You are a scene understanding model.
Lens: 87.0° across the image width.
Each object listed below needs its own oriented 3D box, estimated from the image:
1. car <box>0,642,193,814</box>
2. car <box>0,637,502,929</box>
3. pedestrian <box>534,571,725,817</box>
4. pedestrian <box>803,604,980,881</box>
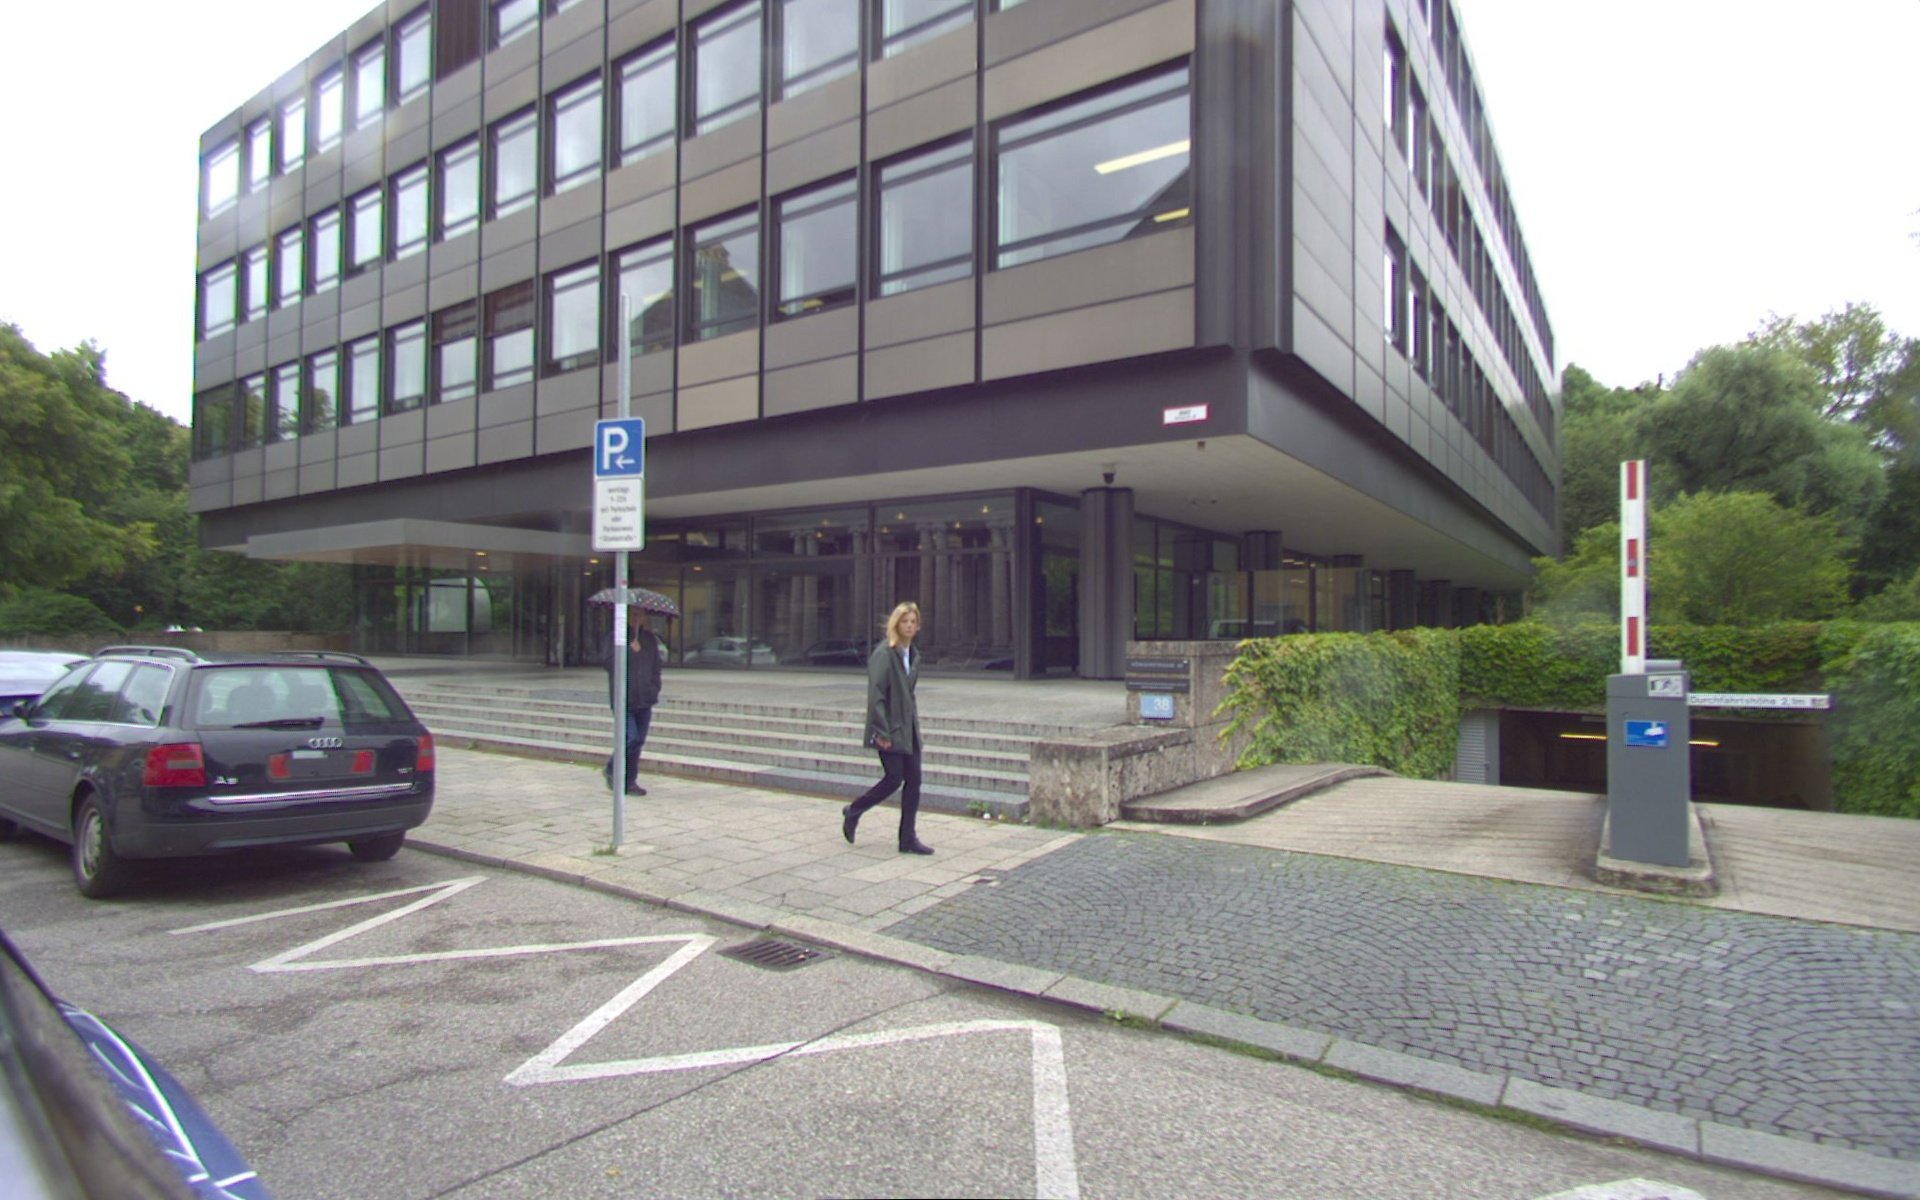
[{"bbox_3d":[-10.055,1.162,10.387,4.904,1.450,1.907,-1,-4,33],"label":"car"},{"bbox_3d":[-5.671,1.046,7.501,4.873,1.502,1.976,-1,-4,36],"label":"car"},{"bbox_3d":[-3.035,0.825,9.346,1.218,2.070,1.126,-1,-3,34],"label":"pedestrian"},{"bbox_3d":[-0.485,0.926,7.095,0.952,1.762,0.745,-2,0,41],"label":"pedestrian"}]
